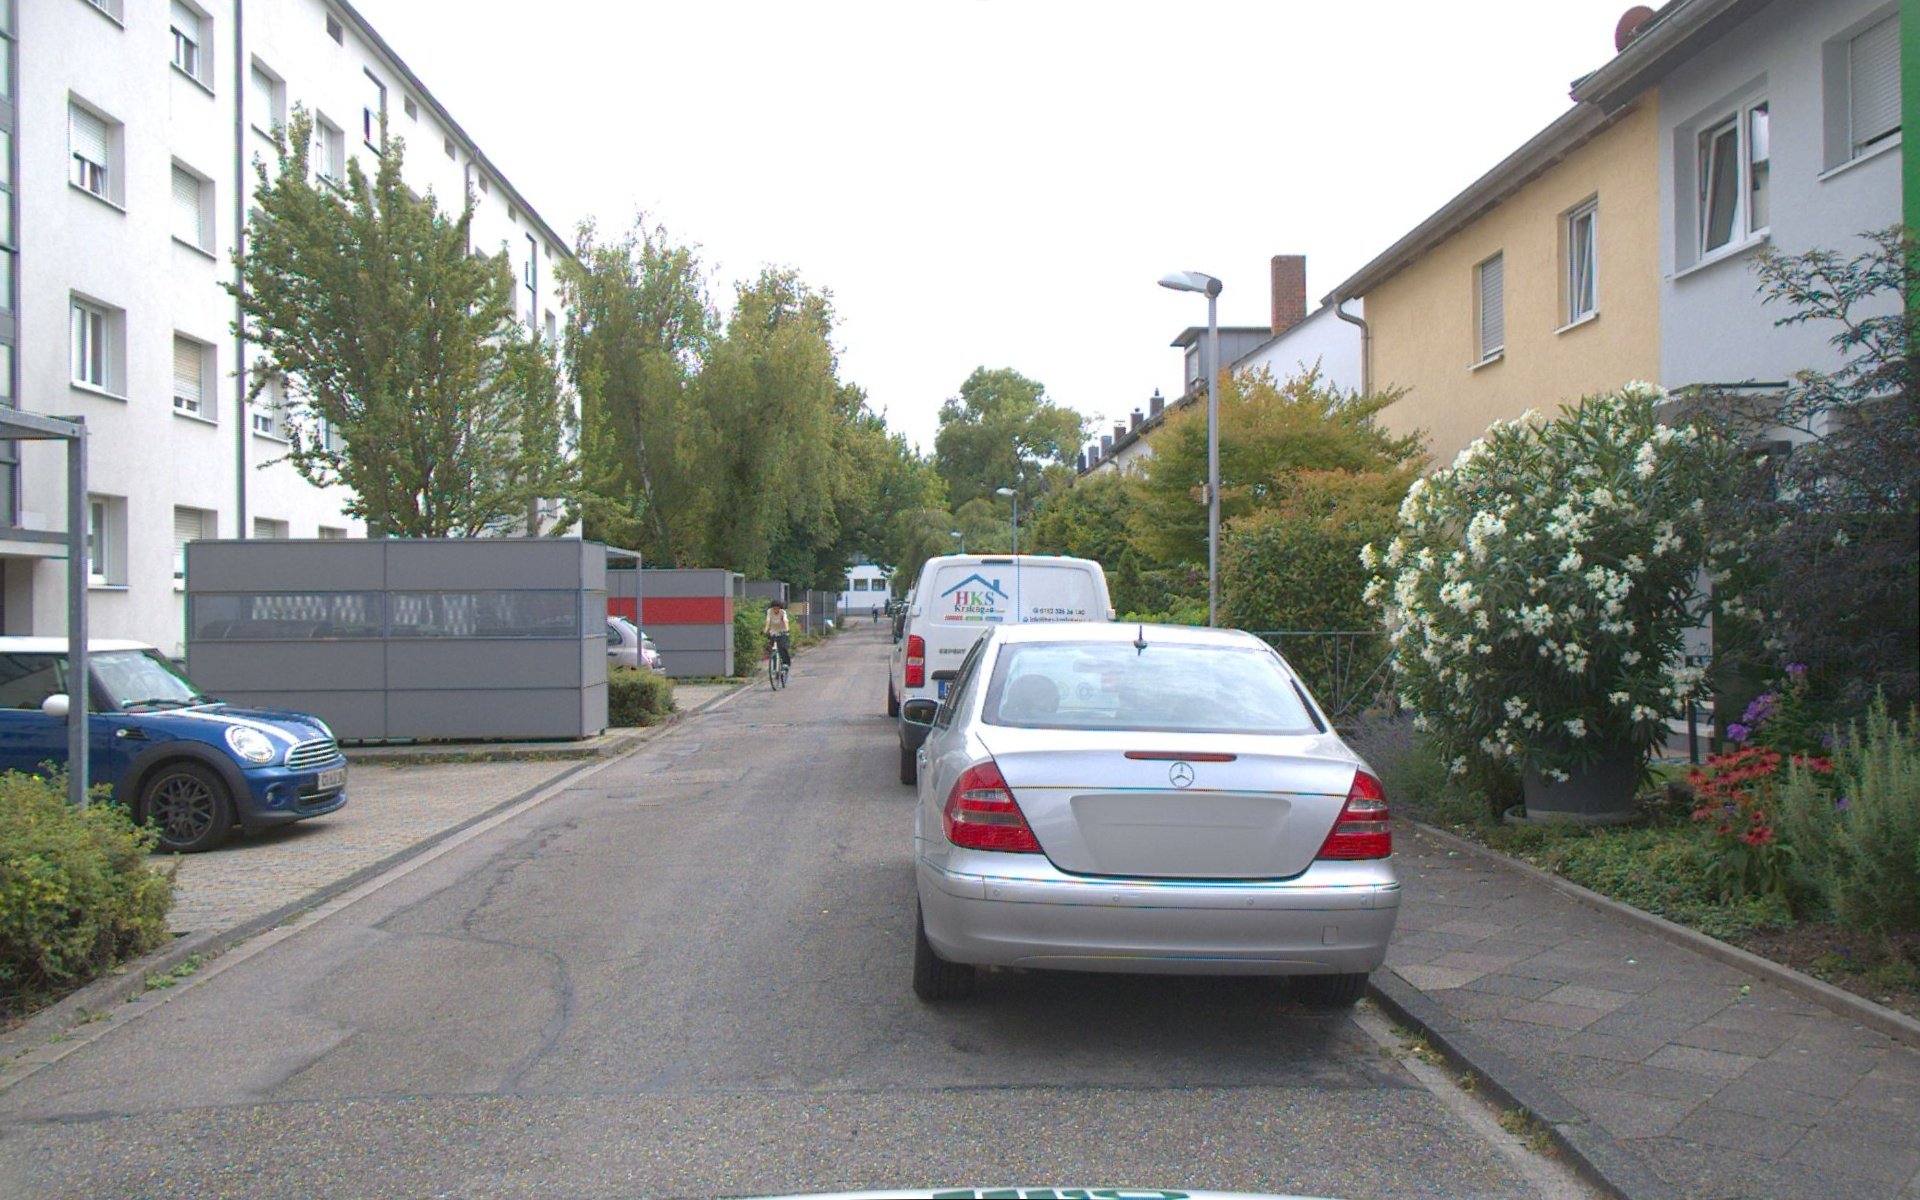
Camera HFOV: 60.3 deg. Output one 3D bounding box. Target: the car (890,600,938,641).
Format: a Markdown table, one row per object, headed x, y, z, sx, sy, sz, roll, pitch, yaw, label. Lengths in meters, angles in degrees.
| x | y | z | sx | sy | sz | roll | pitch | yaw | label |
| --- | --- | --- | --- | --- | --- | --- | --- | --- | --- |
| -1.926 | 0.822 | 67.714 | 1.789 | 1.609 | 3.997 | 1 | 0 | -4 | car |

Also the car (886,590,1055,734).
| x | y | z | sx | sy | sz | roll | pitch | yaw | label |
| --- | --- | --- | --- | --- | --- | --- | --- | --- | --- |
| 0.033 | 0.736 | 21.462 | 1.789 | 1.664 | 4.157 | 1 | 0 | -5 | car |

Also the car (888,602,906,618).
| x | y | z | sx | sy | sz | roll | pitch | yaw | label |
| --- | --- | --- | --- | --- | --- | --- | --- | --- | --- |
| -6.268 | 0.996 | 165.220 | 1.788 | 1.609 | 3.998 | 1 | 0 | -2 | car |

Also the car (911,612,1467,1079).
| x | y | z | sx | sy | sz | roll | pitch | yaw | label |
| --- | --- | --- | --- | --- | --- | --- | --- | --- | --- |
| 0.697 | 0.792 | 7.444 | 1.747 | 1.445 | 4.454 | 1 | 0 | -1 | car |

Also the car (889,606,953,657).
| x | y | z | sx | sy | sz | roll | pitch | yaw | label |
| --- | --- | --- | --- | --- | --- | --- | --- | --- | --- |
| -1.161 | 0.905 | 48.991 | 1.788 | 1.394 | 4.329 | 1 | 0 | -2 | car |

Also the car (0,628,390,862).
| x | y | z | sx | sy | sz | roll | pitch | yaw | label |
| --- | --- | --- | --- | --- | --- | --- | --- | --- | --- |
| -6.186 | 1.005 | 11.891 | 3.560 | 1.487 | 1.653 | -2 | 0 | 1 | car |

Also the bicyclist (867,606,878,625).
| x | y | z | sx | sy | sz | roll | pitch | yaw | label |
| --- | --- | --- | --- | --- | --- | --- | --- | --- | --- |
| -7.269 | 1.263 | 137.454 | 0.782 | 1.537 | 0.934 | 1 | -1 | 0 | bicyclist |

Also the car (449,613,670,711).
| x | y | z | sx | sy | sz | roll | pitch | yaw | label |
| --- | --- | --- | --- | --- | --- | --- | --- | --- | --- |
| -6.881 | 1.043 | 28.731 | 3.494 | 1.506 | 1.708 | -2 | 0 | -7 | car |

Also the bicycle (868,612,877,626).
| x | y | z | sx | sy | sz | roll | pitch | yaw | label |
| --- | --- | --- | --- | --- | --- | --- | --- | --- | --- |
| -7.265 | 1.590 | 137.473 | 0.675 | 1.151 | 2.579 | 1 | 0 | 0 | bicycle |

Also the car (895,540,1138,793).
| x | y | z | sx | sy | sz | roll | pitch | yaw | label |
| --- | --- | --- | --- | --- | --- | --- | --- | --- | --- |
| 0.357 | 0.544 | 15.812 | 1.866 | 1.999 | 5.250 | 1 | 0 | -3 | car |

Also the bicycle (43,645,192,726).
| x | y | z | sx | sy | sz | roll | pitch | yaw | label |
| --- | --- | --- | --- | --- | --- | --- | --- | --- | --- |
| -11.734 | 1.176 | 23.074 | 1.796 | 1.042 | 0.471 | -1 | 0 | -44 | bicycle |

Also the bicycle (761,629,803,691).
| x | y | z | sx | sy | sz | roll | pitch | yaw | label |
| --- | --- | --- | --- | --- | --- | --- | --- | --- | --- |
| -3.411 | 1.132 | 31.802 | 0.585 | 1.095 | 2.042 | -2 | 0 | -1 | bicycle |

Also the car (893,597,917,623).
| x | y | z | sx | sy | sz | roll | pitch | yaw | label |
| --- | --- | --- | --- | --- | --- | --- | --- | --- | --- |
| -4.127 | 0.733 | 124.332 | 1.788 | 1.916 | 3.998 | 1 | 0 | -2 | car |

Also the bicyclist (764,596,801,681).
| x | y | z | sx | sy | sz | roll | pitch | yaw | label |
| --- | --- | --- | --- | --- | --- | --- | --- | --- | --- |
| -3.423 | 0.737 | 31.887 | 0.585 | 1.608 | 0.767 | -2 | 0 | -1 | bicyclist |
